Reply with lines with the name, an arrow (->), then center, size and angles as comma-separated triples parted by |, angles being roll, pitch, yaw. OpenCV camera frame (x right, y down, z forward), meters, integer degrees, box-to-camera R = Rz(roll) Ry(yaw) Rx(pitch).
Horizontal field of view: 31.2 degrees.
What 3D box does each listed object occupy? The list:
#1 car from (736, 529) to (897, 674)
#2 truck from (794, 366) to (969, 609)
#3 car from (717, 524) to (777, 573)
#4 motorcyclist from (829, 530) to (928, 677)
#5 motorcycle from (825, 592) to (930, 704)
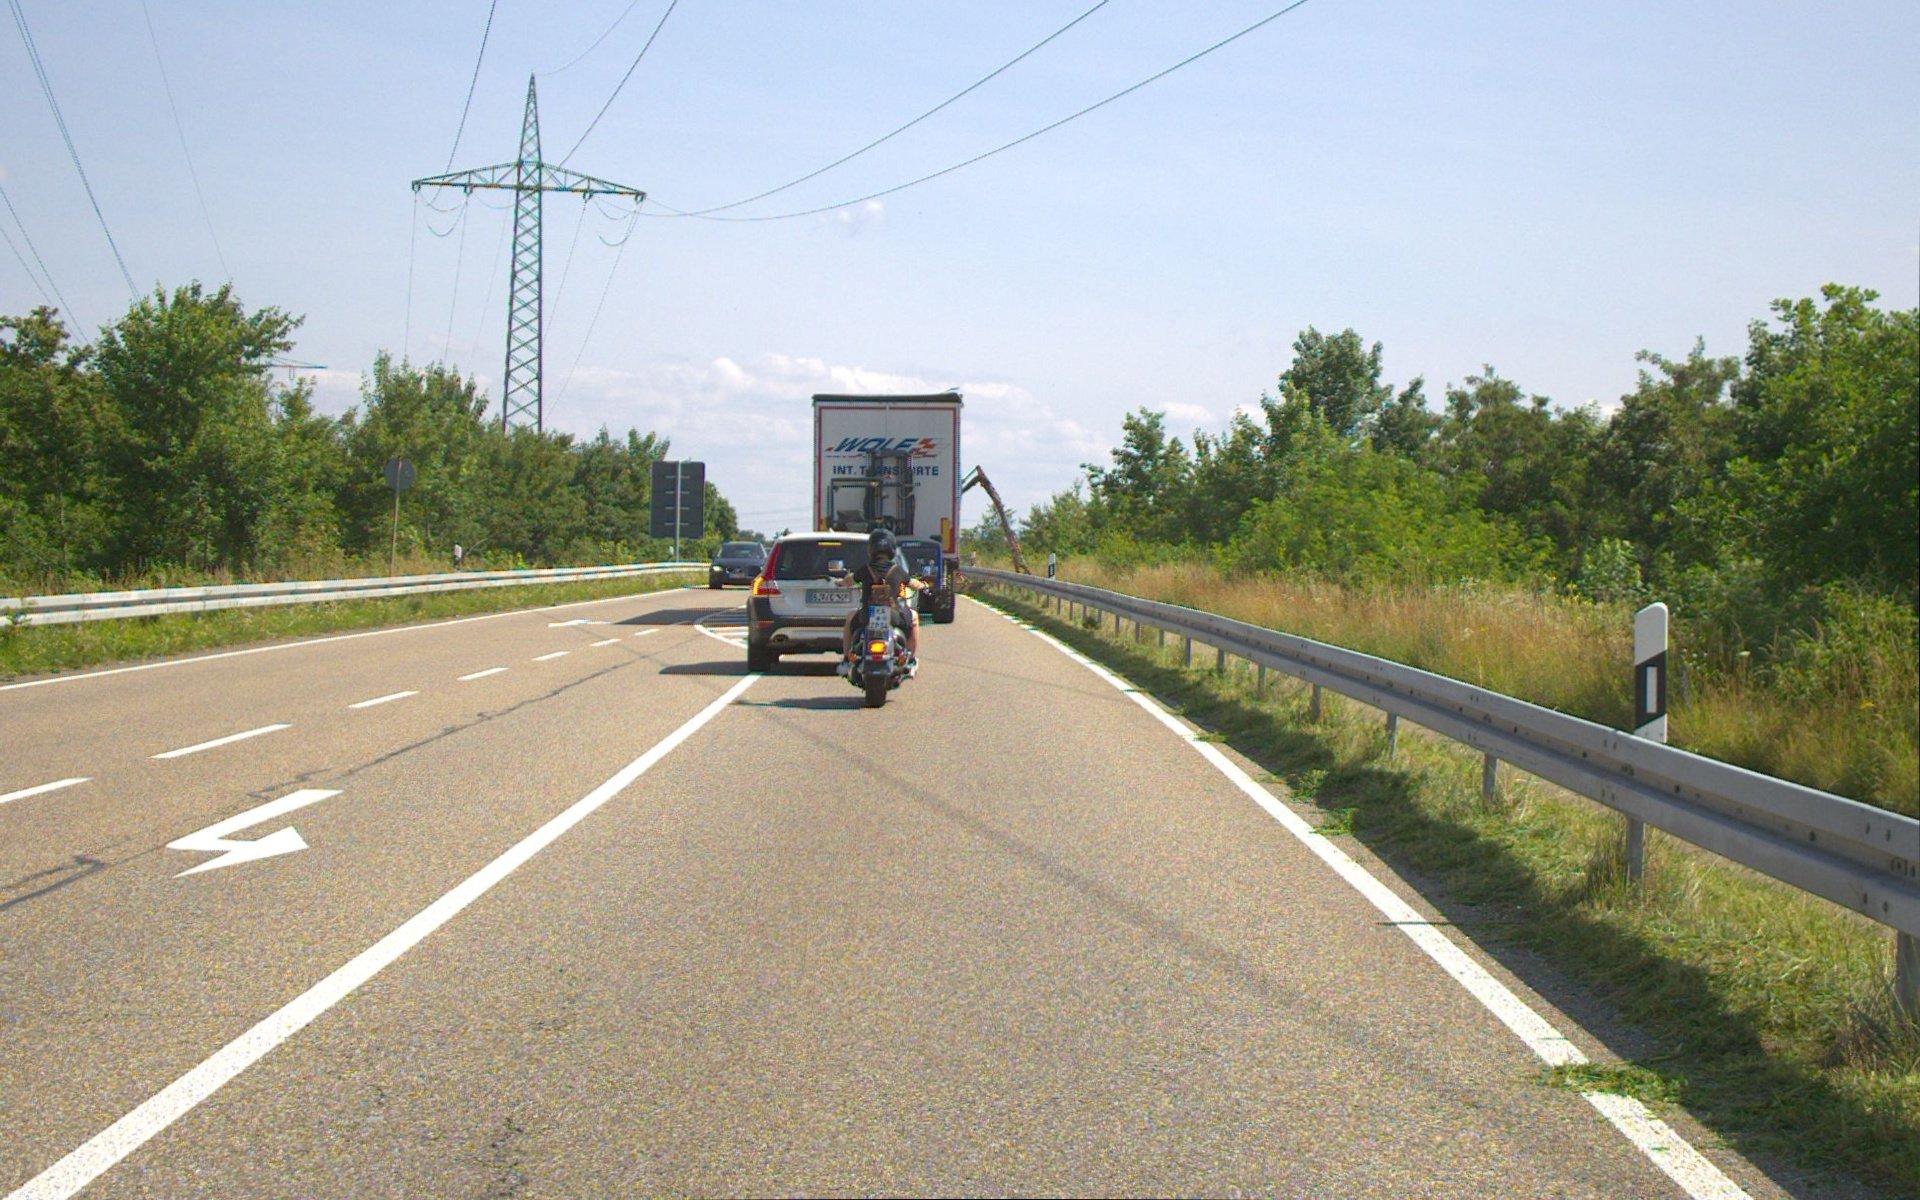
car -> -1.569, -0.018, 38.594 | 1.701, 1.531, 3.499 | 1, 1, -1
truck -> -1.362, -2.082, 67.002 | 2.968, 4.172, 14.822 | 1, 1, 0
car -> -6.718, -1.642, 108.738 | 1.727, 1.486, 4.423 | 1, 1, -1
motorcyclist -> -0.733, 0.023, 30.656 | 0.837, 1.276, 0.919 | 1, 1, -3
motorcycle -> -0.748, 0.414, 30.594 | 0.858, 0.912, 2.228 | 1, 1, -3
